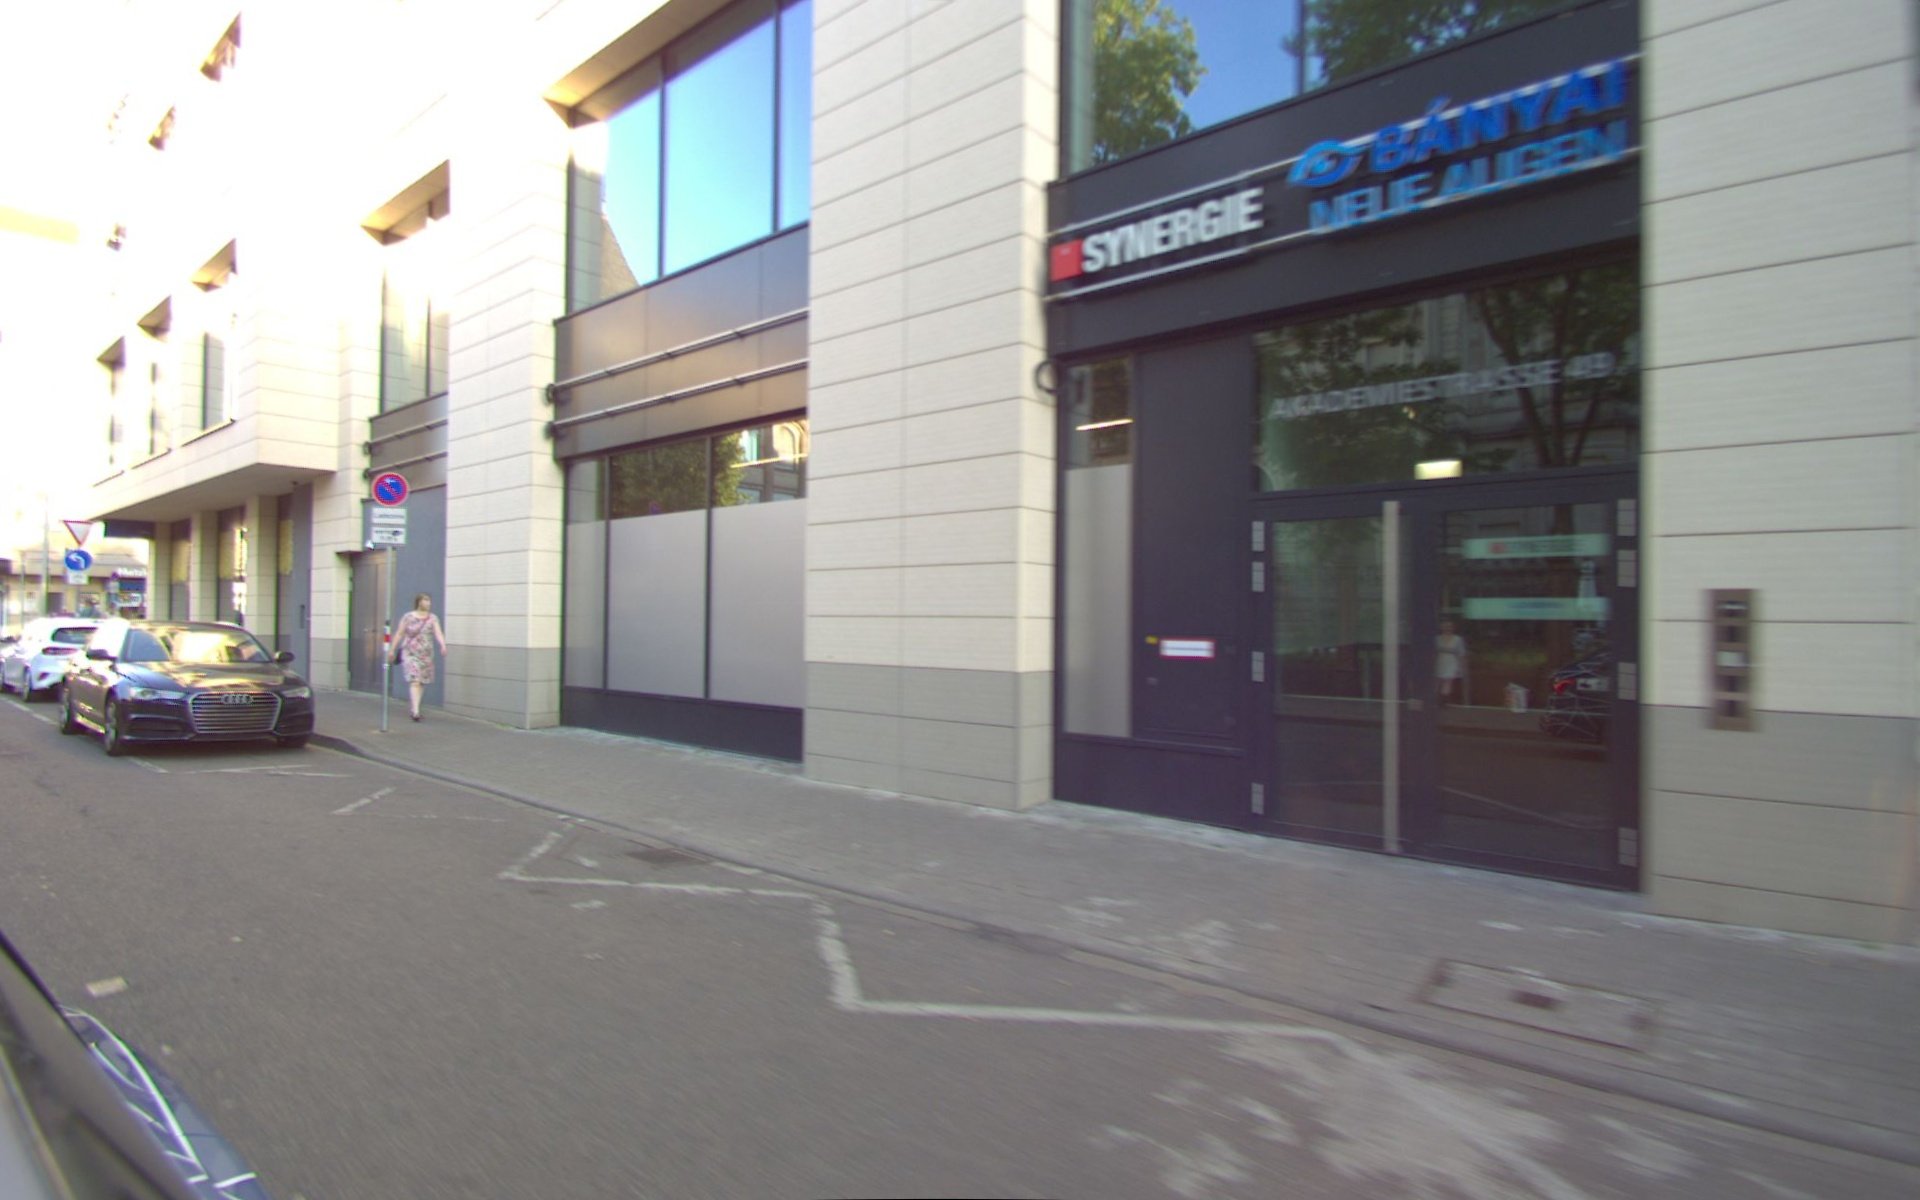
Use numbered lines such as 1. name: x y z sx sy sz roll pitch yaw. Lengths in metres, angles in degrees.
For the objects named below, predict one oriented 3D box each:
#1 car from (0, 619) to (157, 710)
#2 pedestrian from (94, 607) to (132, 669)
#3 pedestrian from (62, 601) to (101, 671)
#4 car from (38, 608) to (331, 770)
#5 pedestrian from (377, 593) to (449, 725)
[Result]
1. car: -16.337 1.091 18.485 4.227 1.464 1.760 -1 -2 40
2. pedestrian: -23.352 1.040 27.901 0.646 1.687 0.665 -1 -2 38
3. pedestrian: -23.756 0.964 27.367 0.646 1.850 0.665 -1 -2 38
4. car: -9.572 0.932 12.341 4.686 1.610 1.864 -1 -2 40
5. pedestrian: -7.561 0.798 14.004 0.647 1.758 0.665 -1 -2 41
